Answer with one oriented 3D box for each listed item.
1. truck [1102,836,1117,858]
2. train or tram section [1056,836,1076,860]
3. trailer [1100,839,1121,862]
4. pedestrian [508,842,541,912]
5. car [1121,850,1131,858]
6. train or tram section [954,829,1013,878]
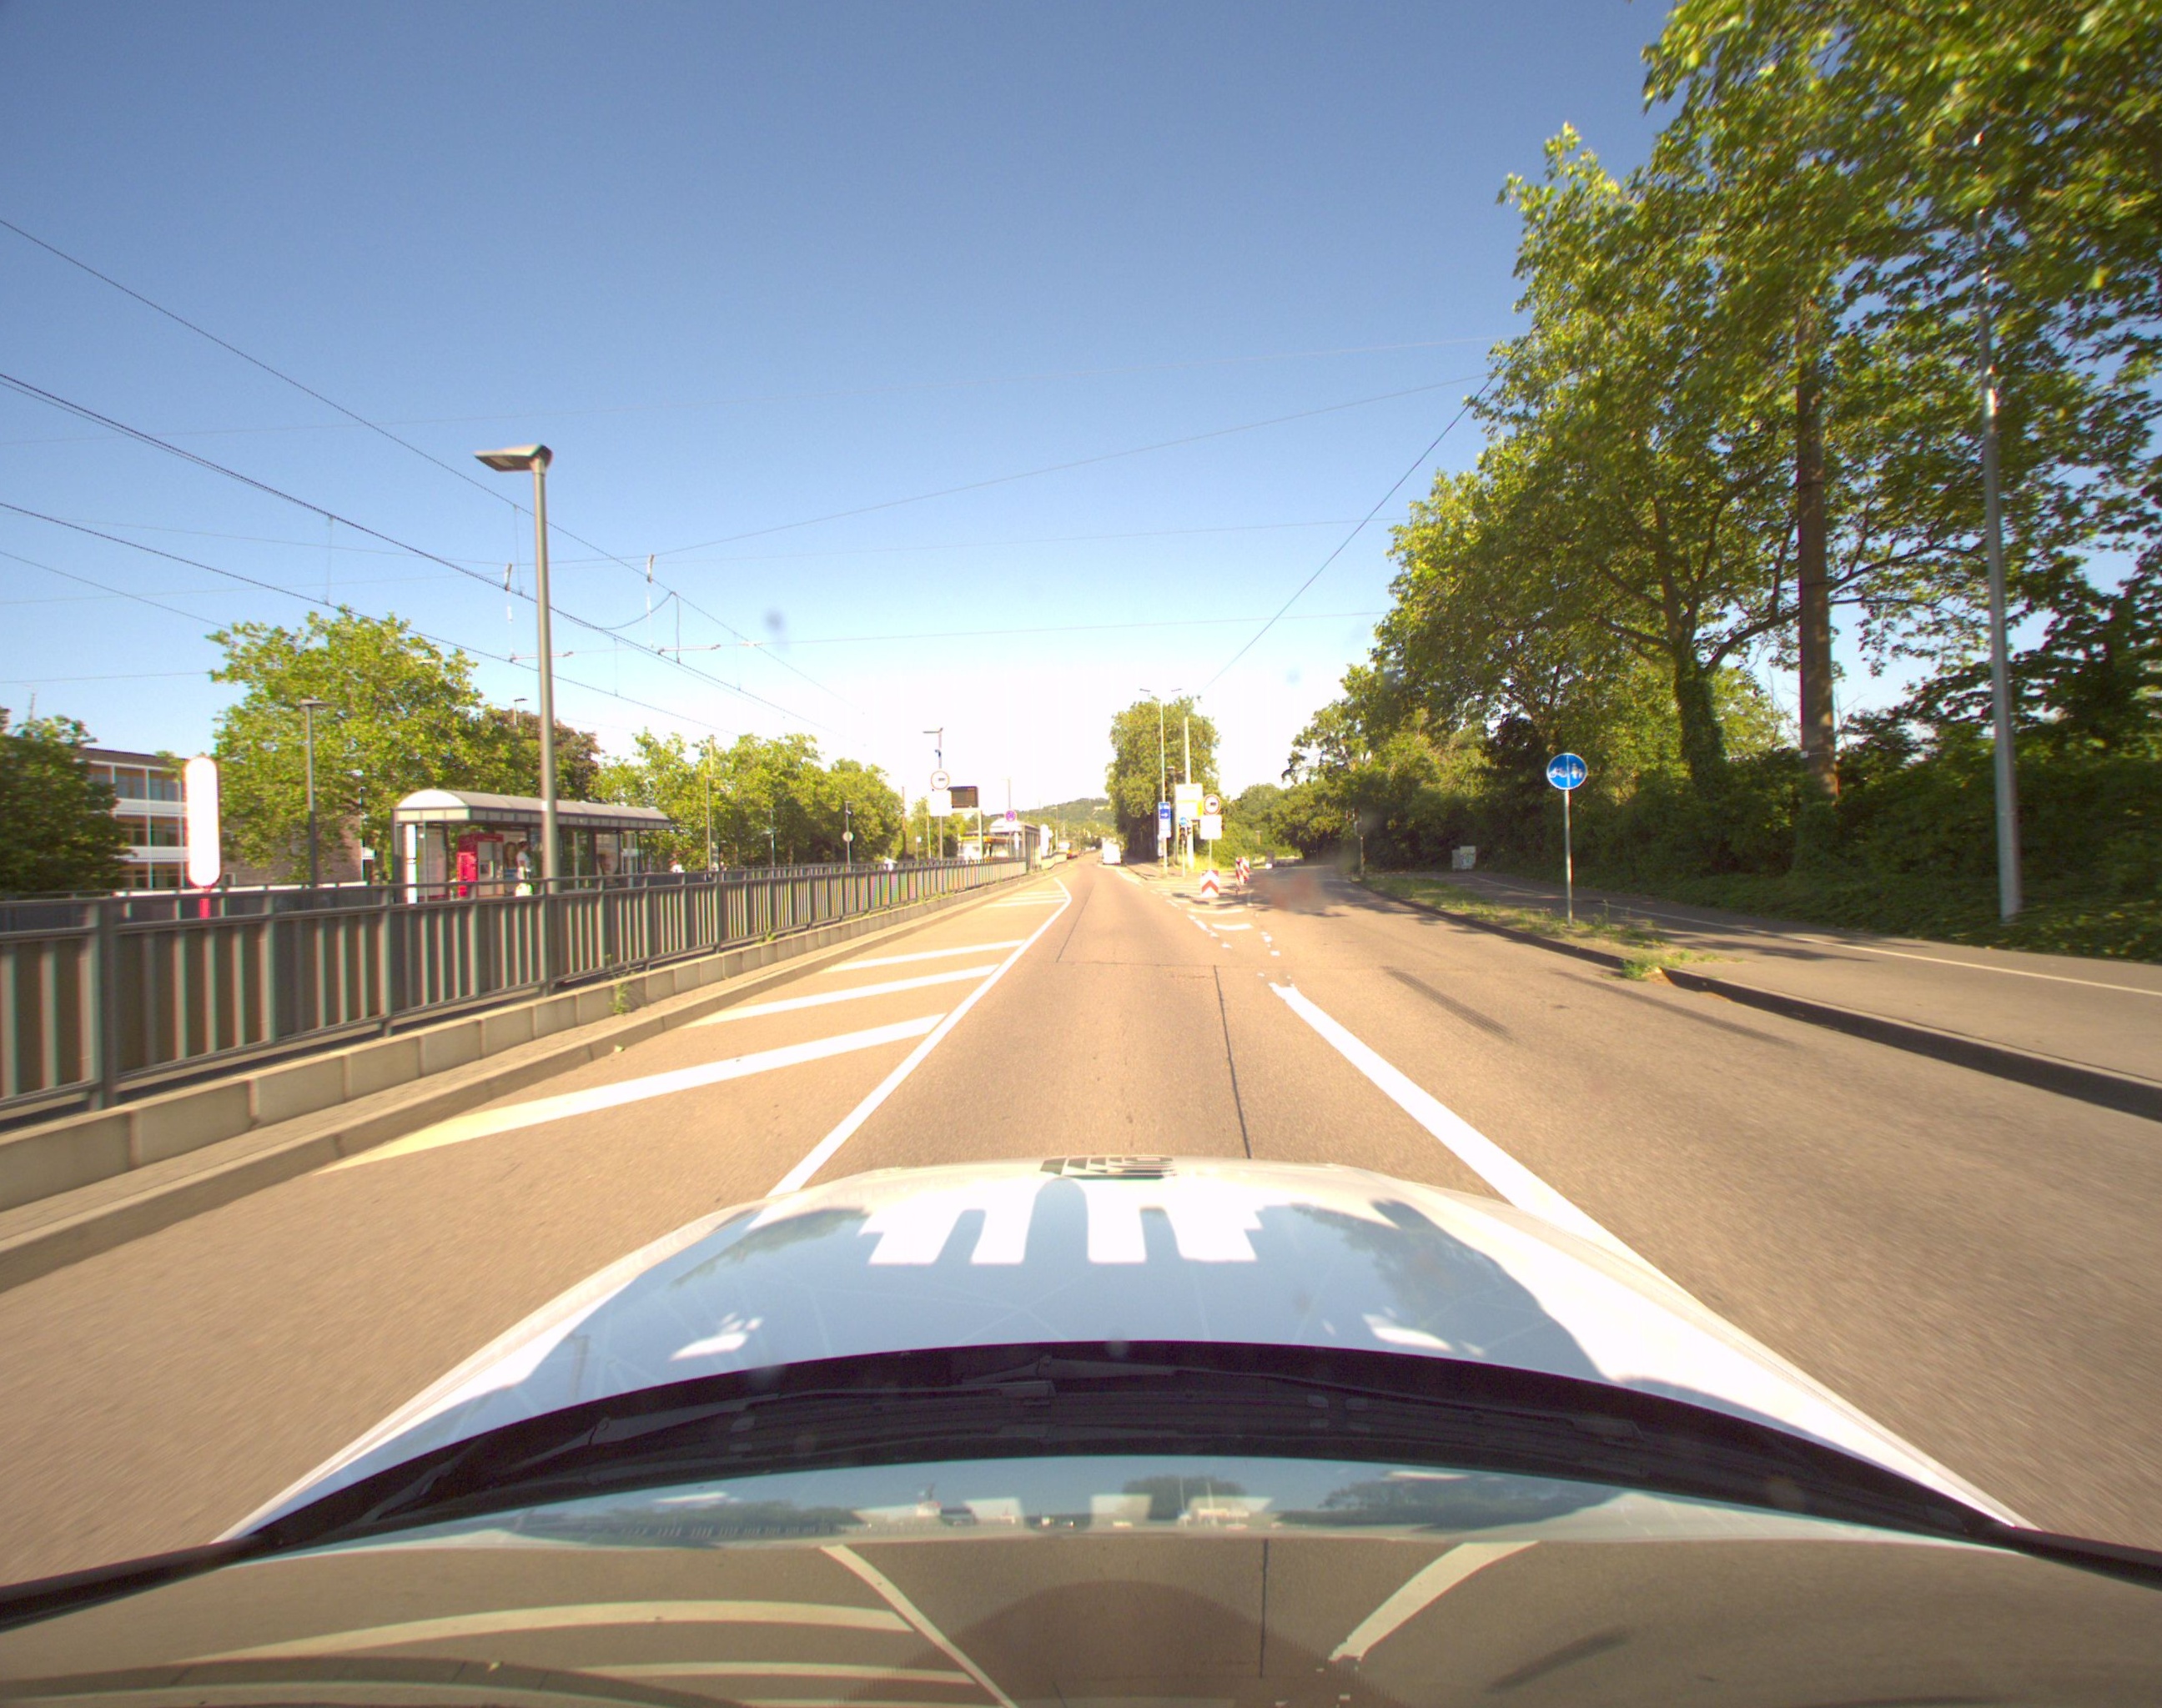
[{"bbox_3d":[5.122,-1.229,147.790,2.732,3.783,10.092,0,0,1],"label":"truck"},{"bbox_3d":[-2.691,-1.096,149.110,2.711,4.091,13.622,-3,0,2],"label":"train or tram section"},{"bbox_3d":[3.676,-0.395,99.863,2.241,2.694,5.955,-1,0,5],"label":"trailer"},{"bbox_3d":[-14.430,0.588,21.115,0.591,1.757,0.692,-1,-1,-44],"label":"pedestrian"},{"bbox_3d":[8.378,0.018,151.408,1.646,1.437,3.780,-1,0,3],"label":"car"},{"bbox_3d":[-8.785,-0.070,75.594,2.816,4.006,15.885,-1,0,3],"label":"train or tram section"}]
